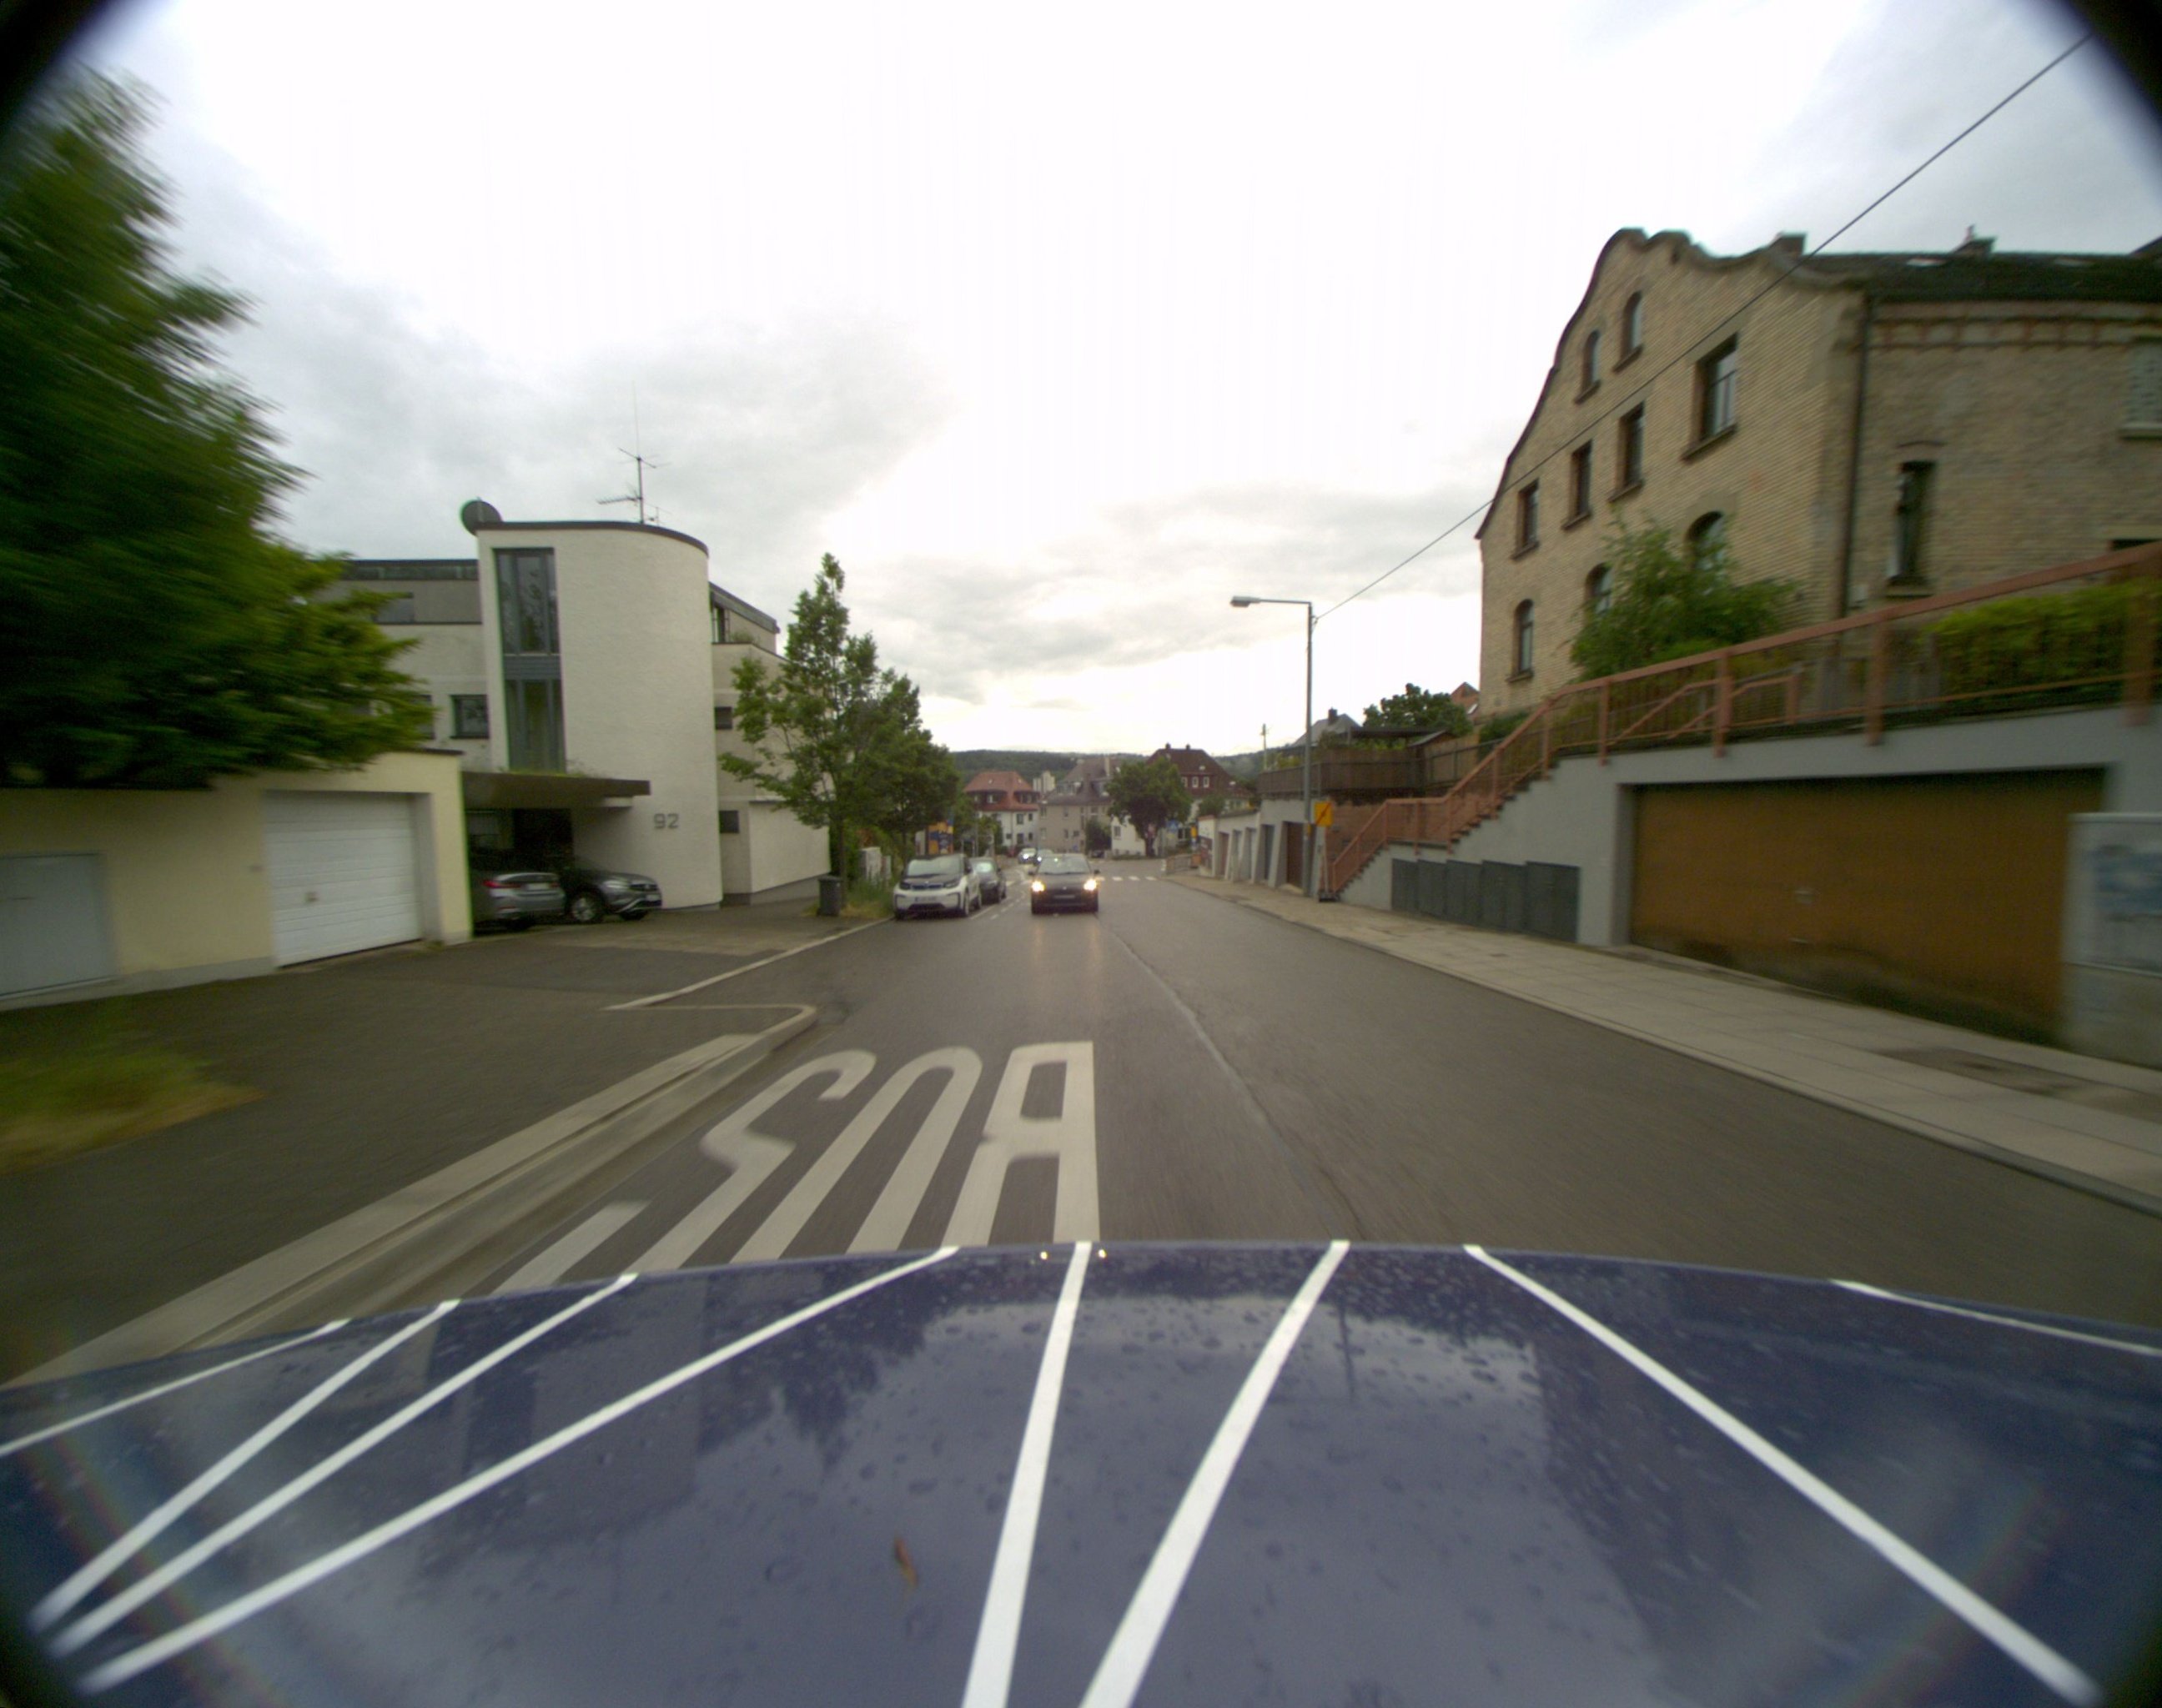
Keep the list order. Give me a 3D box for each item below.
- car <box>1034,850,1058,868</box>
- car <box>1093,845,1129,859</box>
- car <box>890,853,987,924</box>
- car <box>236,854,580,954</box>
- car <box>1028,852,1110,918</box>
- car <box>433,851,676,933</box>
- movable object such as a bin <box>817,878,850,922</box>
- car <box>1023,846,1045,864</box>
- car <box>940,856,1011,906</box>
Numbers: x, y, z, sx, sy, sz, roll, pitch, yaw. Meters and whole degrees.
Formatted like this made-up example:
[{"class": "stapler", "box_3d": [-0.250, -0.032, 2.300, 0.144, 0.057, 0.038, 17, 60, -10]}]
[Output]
[{"class": "car", "box_3d": [-3.128, 0.428, 68.449, 1.857, 1.575, 4.000, -1, 0, 0]}, {"class": "car", "box_3d": [3.859, -0.231, 97.213, 4.226, 1.663, 1.875, -2, 1, -21]}, {"class": "car", "box_3d": [-3.593, 0.804, 19.836, 1.734, 1.598, 4.119, -3, 0, -1]}, {"class": "car", "box_3d": [-11.411, 0.809, 13.097, 4.308, 1.471, 1.831, -2, 0, 2]}, {"class": "car", "box_3d": [-0.267, 0.742, 19.999, 1.892, 1.521, 4.056, -1, 0, 0]}, {"class": "car", "box_3d": [-10.633, 0.735, 15.532, 3.709, 1.498, 1.782, -1, 0, 2]}, {"class": "movable object such as a bin", "box_3d": [-5.804, 1.071, 17.807, 0.486, 0.969, 0.605, 3, 1, 7]}, {"class": "car", "box_3d": [-5.185, 0.095, 83.197, 2.017, 1.892, 4.091, -1, 0, -9]}, {"class": "car", "box_3d": [-3.349, 0.802, 24.965, 1.783, 1.430, 4.880, -2, 0, -2]}]
